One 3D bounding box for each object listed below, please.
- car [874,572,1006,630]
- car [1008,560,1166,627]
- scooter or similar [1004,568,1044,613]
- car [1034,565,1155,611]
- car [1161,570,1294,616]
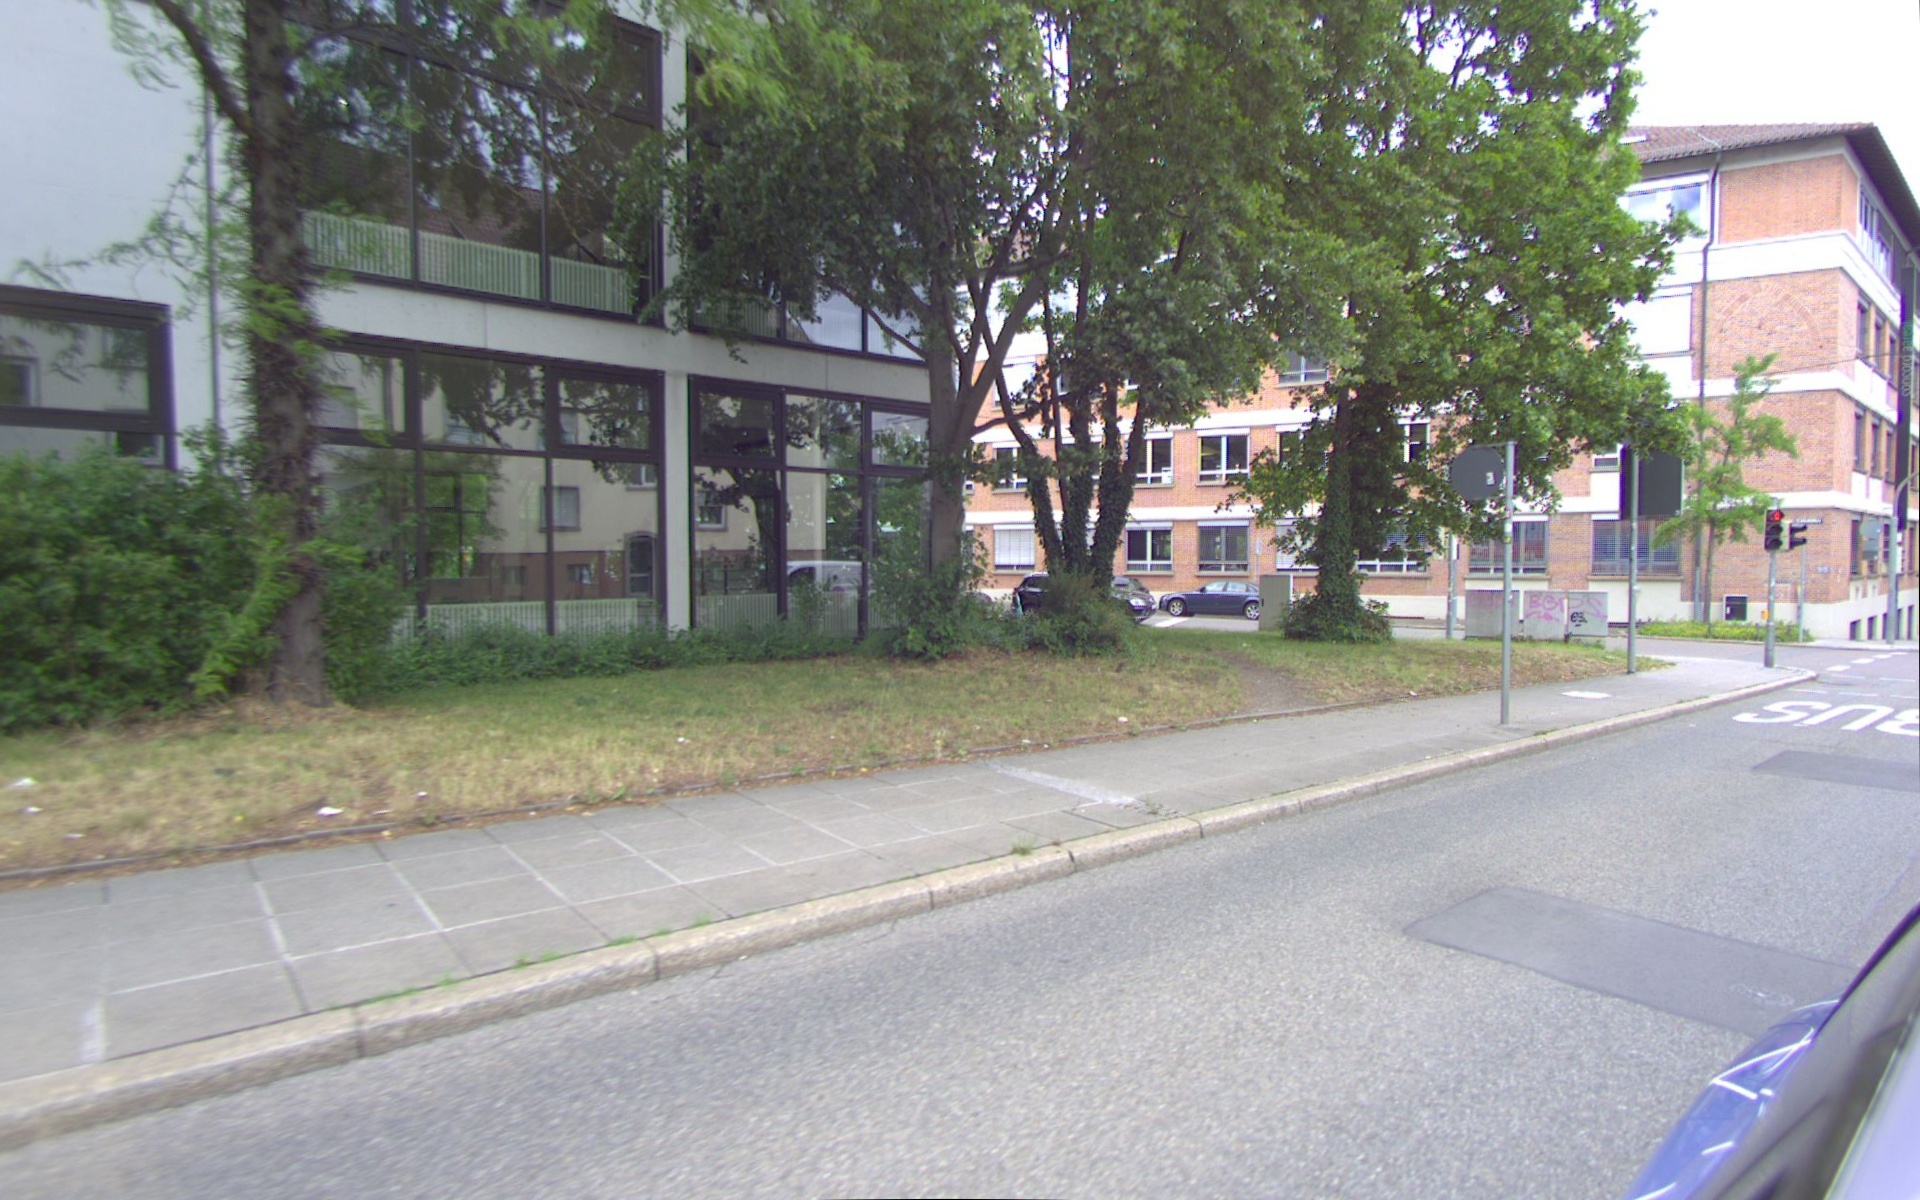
[{"bbox_3d":[-0.695,-0.014,34.847,4.274,1.627,1.730,3,7,30],"label":"car"},{"bbox_3d":[4.008,-0.275,32.078,4.618,1.746,1.946,3,7,30],"label":"car"},{"bbox_3d":[1.841,-0.278,29.216,1.095,1.245,0.338,3,1,30],"label":"scooter or similar"},{"bbox_3d":[5.258,-0.471,39.657,4.358,1.528,1.755,3,-1,28],"label":"car"},{"bbox_3d":[9.785,-0.266,37.056,4.380,1.423,1.755,3,-1,28],"label":"car"}]
